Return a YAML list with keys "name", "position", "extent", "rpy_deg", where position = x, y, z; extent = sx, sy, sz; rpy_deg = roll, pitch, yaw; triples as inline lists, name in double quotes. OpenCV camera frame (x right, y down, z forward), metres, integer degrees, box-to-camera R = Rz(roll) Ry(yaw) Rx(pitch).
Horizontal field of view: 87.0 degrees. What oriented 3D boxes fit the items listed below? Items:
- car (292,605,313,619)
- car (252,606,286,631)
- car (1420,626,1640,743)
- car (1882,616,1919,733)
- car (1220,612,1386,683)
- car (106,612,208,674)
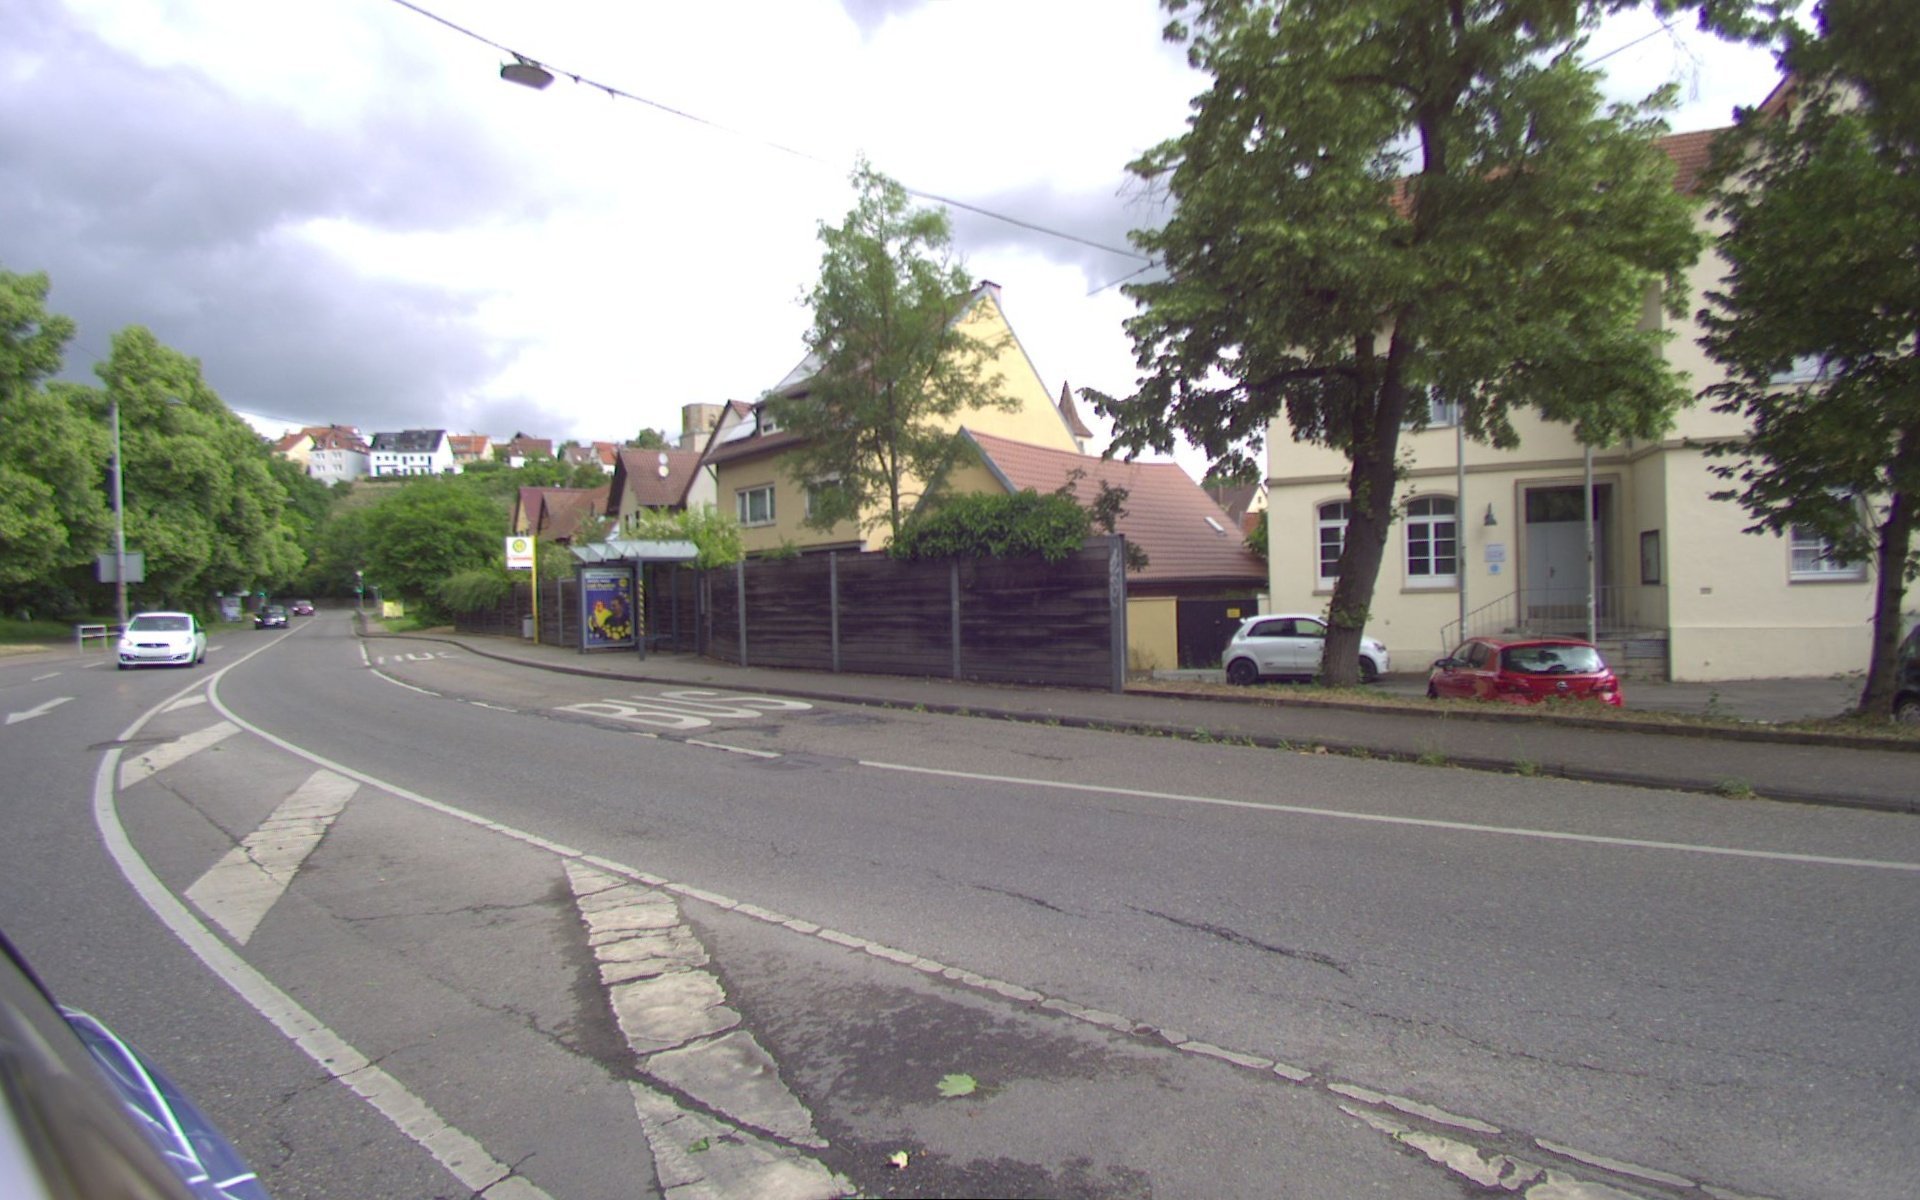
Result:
- name: "car"
  position: [-73.305, 1.332, 112.911]
  extent: [1.735, 1.596, 3.695]
  rpy_deg: [-1, 0, -29]
- name: "car"
  position: [-46.001, 1.234, 67.415]
  extent: [1.735, 1.596, 3.693]
  rpy_deg: [-1, 0, -33]
- name: "car"
  position: [8.189, 1.141, 14.920]
  extent: [1.644, 1.393, 3.708]
  rpy_deg: [-1, 0, 10]
- name: "car"
  position: [12.636, 0.930, 11.314]
  extent: [1.626, 1.450, 3.567]
  rpy_deg: [-1, 0, 7]
- name: "car"
  position: [7.723, 1.050, 22.895]
  extent: [3.411, 1.490, 1.600]
  rpy_deg: [-1, 0, 21]
- name: "car"
  position: [-21.836, 1.106, 27.649]
  extent: [1.735, 1.536, 3.694]
  rpy_deg: [-1, 0, -31]
